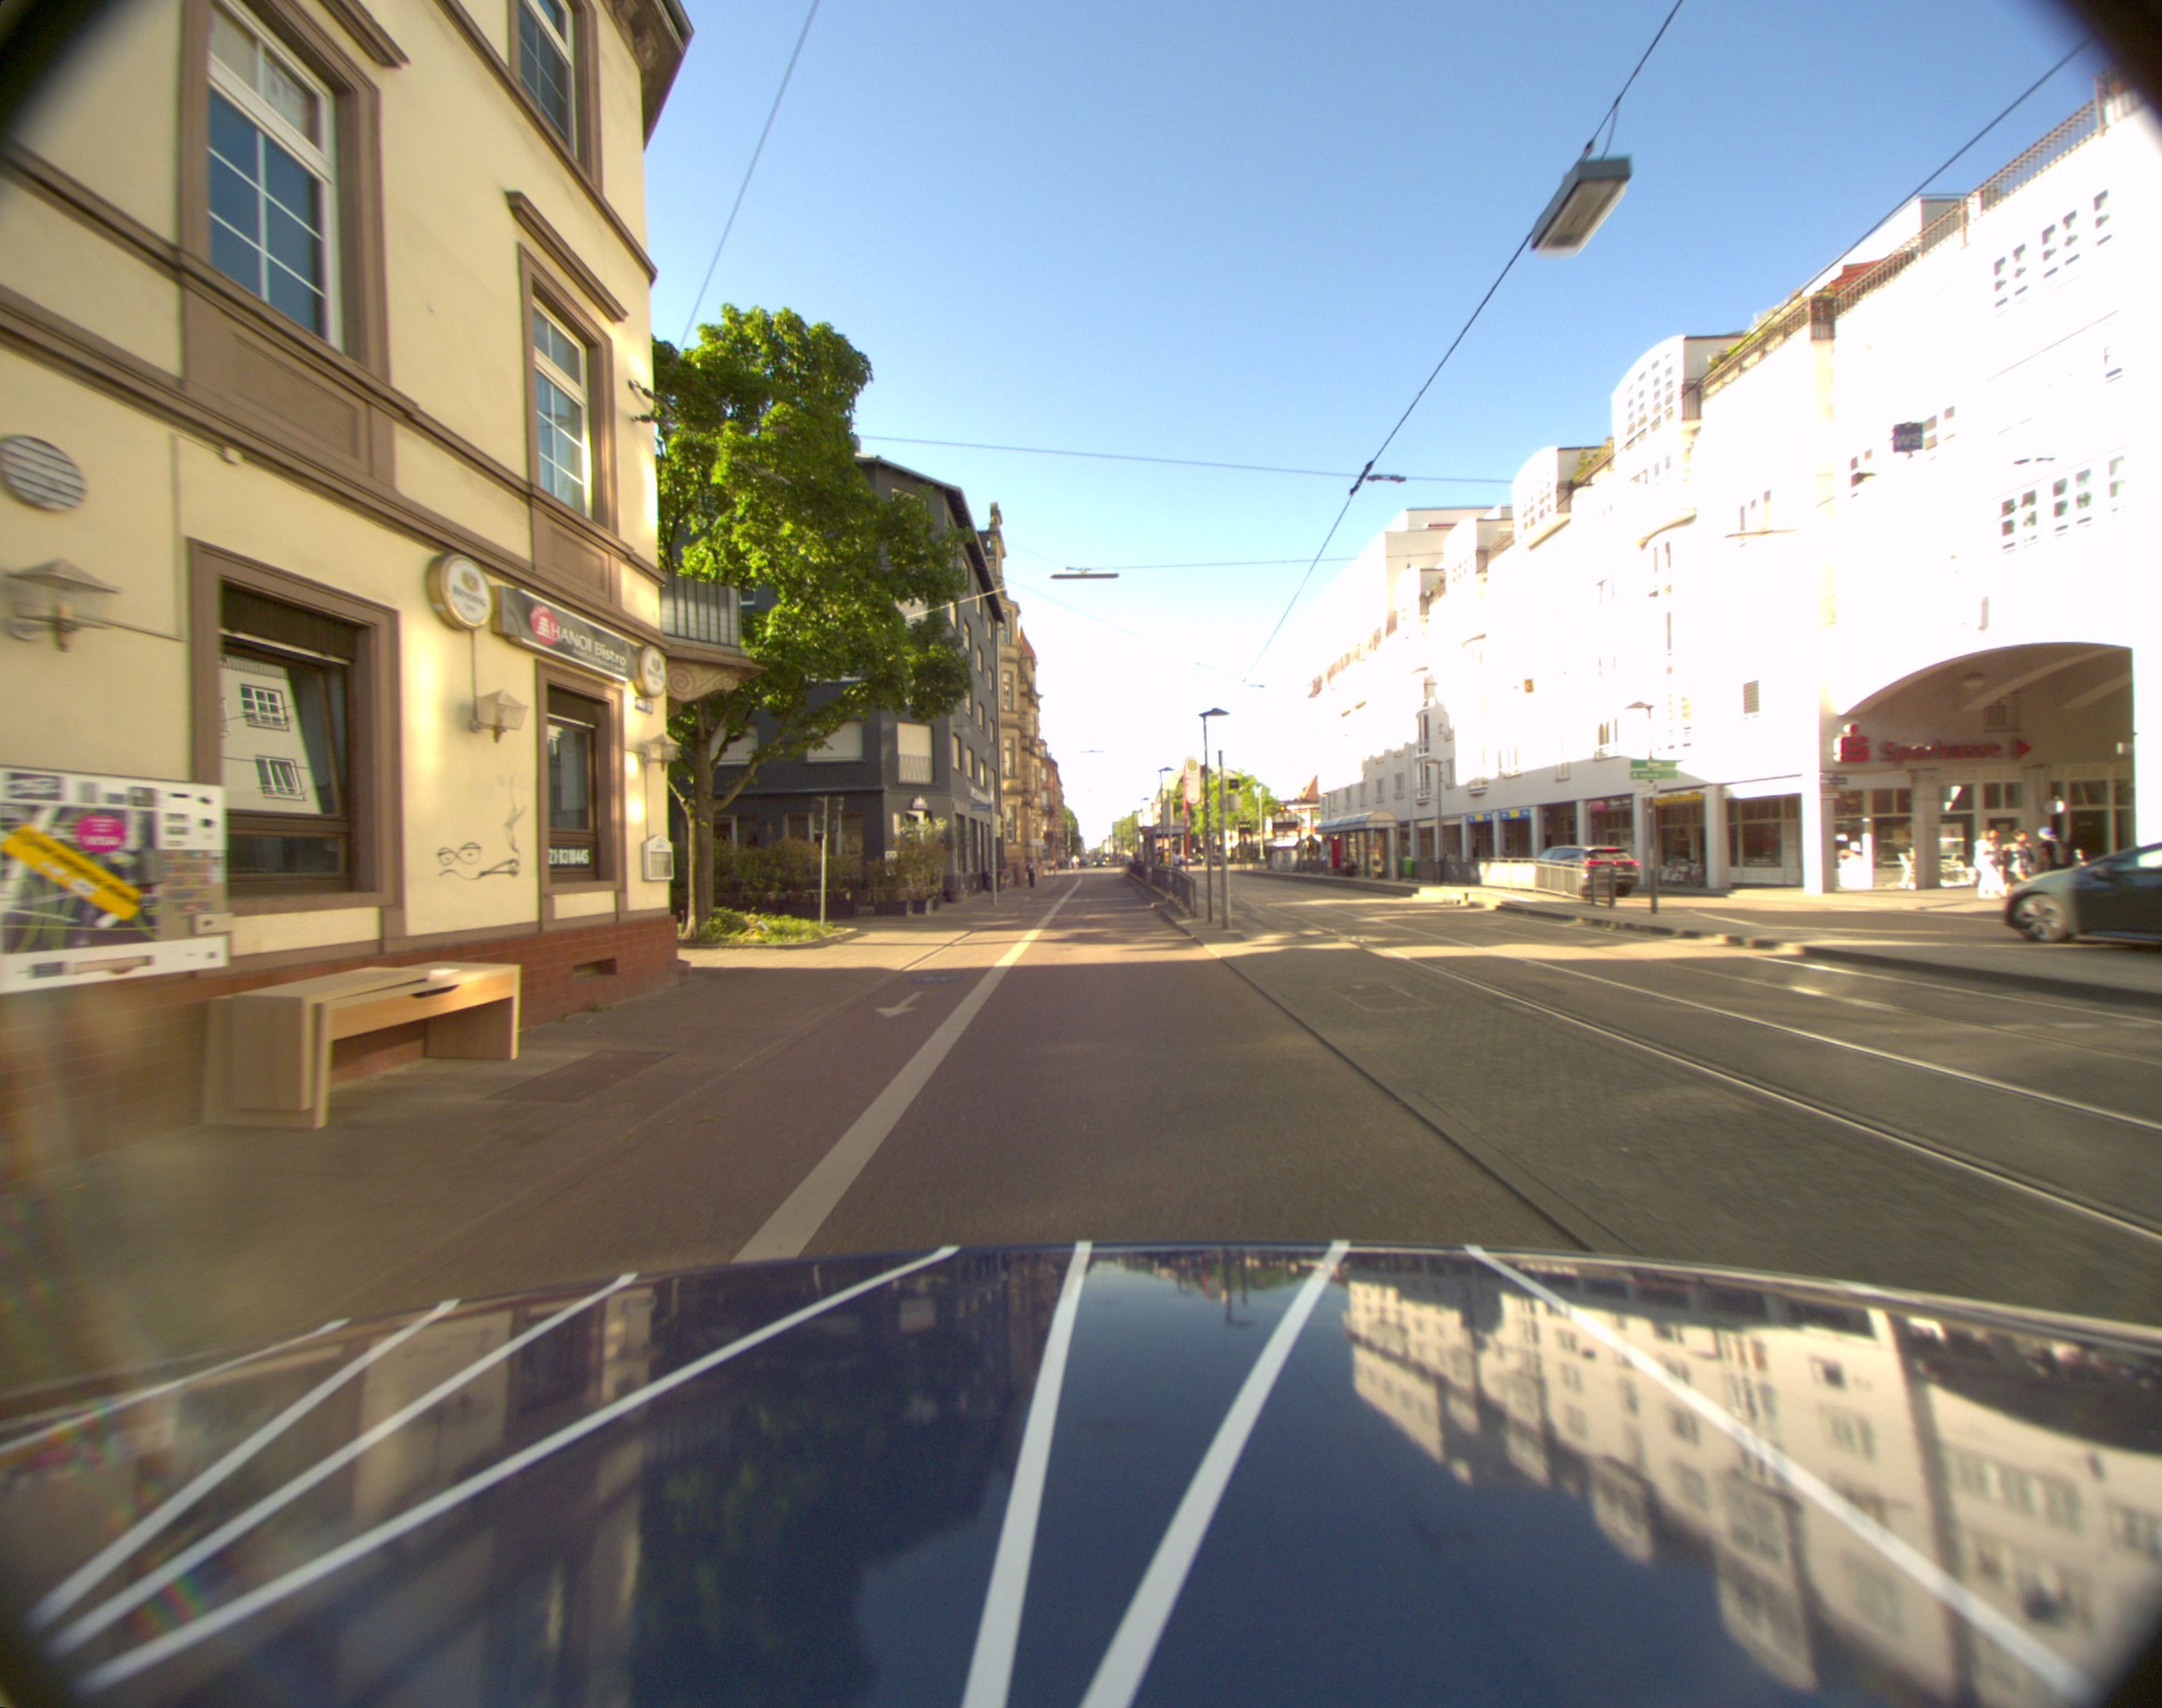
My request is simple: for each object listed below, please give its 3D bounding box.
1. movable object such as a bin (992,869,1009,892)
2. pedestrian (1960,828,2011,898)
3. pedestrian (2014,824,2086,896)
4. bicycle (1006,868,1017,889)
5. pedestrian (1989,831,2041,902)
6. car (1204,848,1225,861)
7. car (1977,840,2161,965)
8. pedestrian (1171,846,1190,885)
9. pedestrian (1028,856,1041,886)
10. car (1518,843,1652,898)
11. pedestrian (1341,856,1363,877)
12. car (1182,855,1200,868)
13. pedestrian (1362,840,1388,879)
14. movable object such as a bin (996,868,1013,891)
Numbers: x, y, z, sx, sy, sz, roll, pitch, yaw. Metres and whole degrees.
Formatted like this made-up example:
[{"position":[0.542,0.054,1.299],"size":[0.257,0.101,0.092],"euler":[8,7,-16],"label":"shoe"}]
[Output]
[{"position":[-3.877,1.264,36.715],"size":[0.717,1.062,0.637],"euler":[-2,0,0],"label":"movable object such as a bin"},{"position":[21.358,0.207,17.953],"size":[0.563,1.635,0.523],"euler":[-1,1,1],"label":"pedestrian"},{"position":[22.659,0.147,17.785],"size":[0.747,1.635,0.731],"euler":[-1,1,1],"label":"pedestrian"},{"position":[-3.720,1.284,40.598],"size":[0.377,1.052,1.513],"euler":[-2,0,1],"label":"bicycle"},{"position":[21.813,0.283,17.751],"size":[0.563,1.635,0.523],"euler":[-1,1,1],"label":"pedestrian"},{"position":[17.054,0.039,97.408],"size":[1.998,1.608,4.000],"euler":[-2,0,1],"label":"car"},{"position":[14.141,0.594,9.206],"size":[1.783,1.531,4.269],"euler":[0,0,6],"label":"car"},{"position":[4.148,0.479,31.758],"size":[0.716,1.635,0.400],"euler":[-2,1,3],"label":"pedestrian"},{"position":[-2.616,0.963,42.935],"size":[0.695,1.680,0.688],"euler":[1,0,1],"label":"pedestrian"},{"position":[16.570,0.505,25.303],"size":[1.783,1.658,4.774],"euler":[-1,0,7],"label":"car"},{"position":[13.140,0.587,36.826],"size":[0.794,0.982,0.747],"euler":[-2,1,1],"label":"pedestrian"},{"position":[16.677,1.192,115.758],"size":[1.999,1.892,3.999],"euler":[-2,0,-2],"label":"car"},{"position":[12.669,0.231,32.773],"size":[0.794,1.635,0.747],"euler":[-2,0,1],"label":"pedestrian"},{"position":[-3.779,1.254,37.513],"size":[0.717,1.062,0.637],"euler":[-2,0,0],"label":"movable object such as a bin"}]
